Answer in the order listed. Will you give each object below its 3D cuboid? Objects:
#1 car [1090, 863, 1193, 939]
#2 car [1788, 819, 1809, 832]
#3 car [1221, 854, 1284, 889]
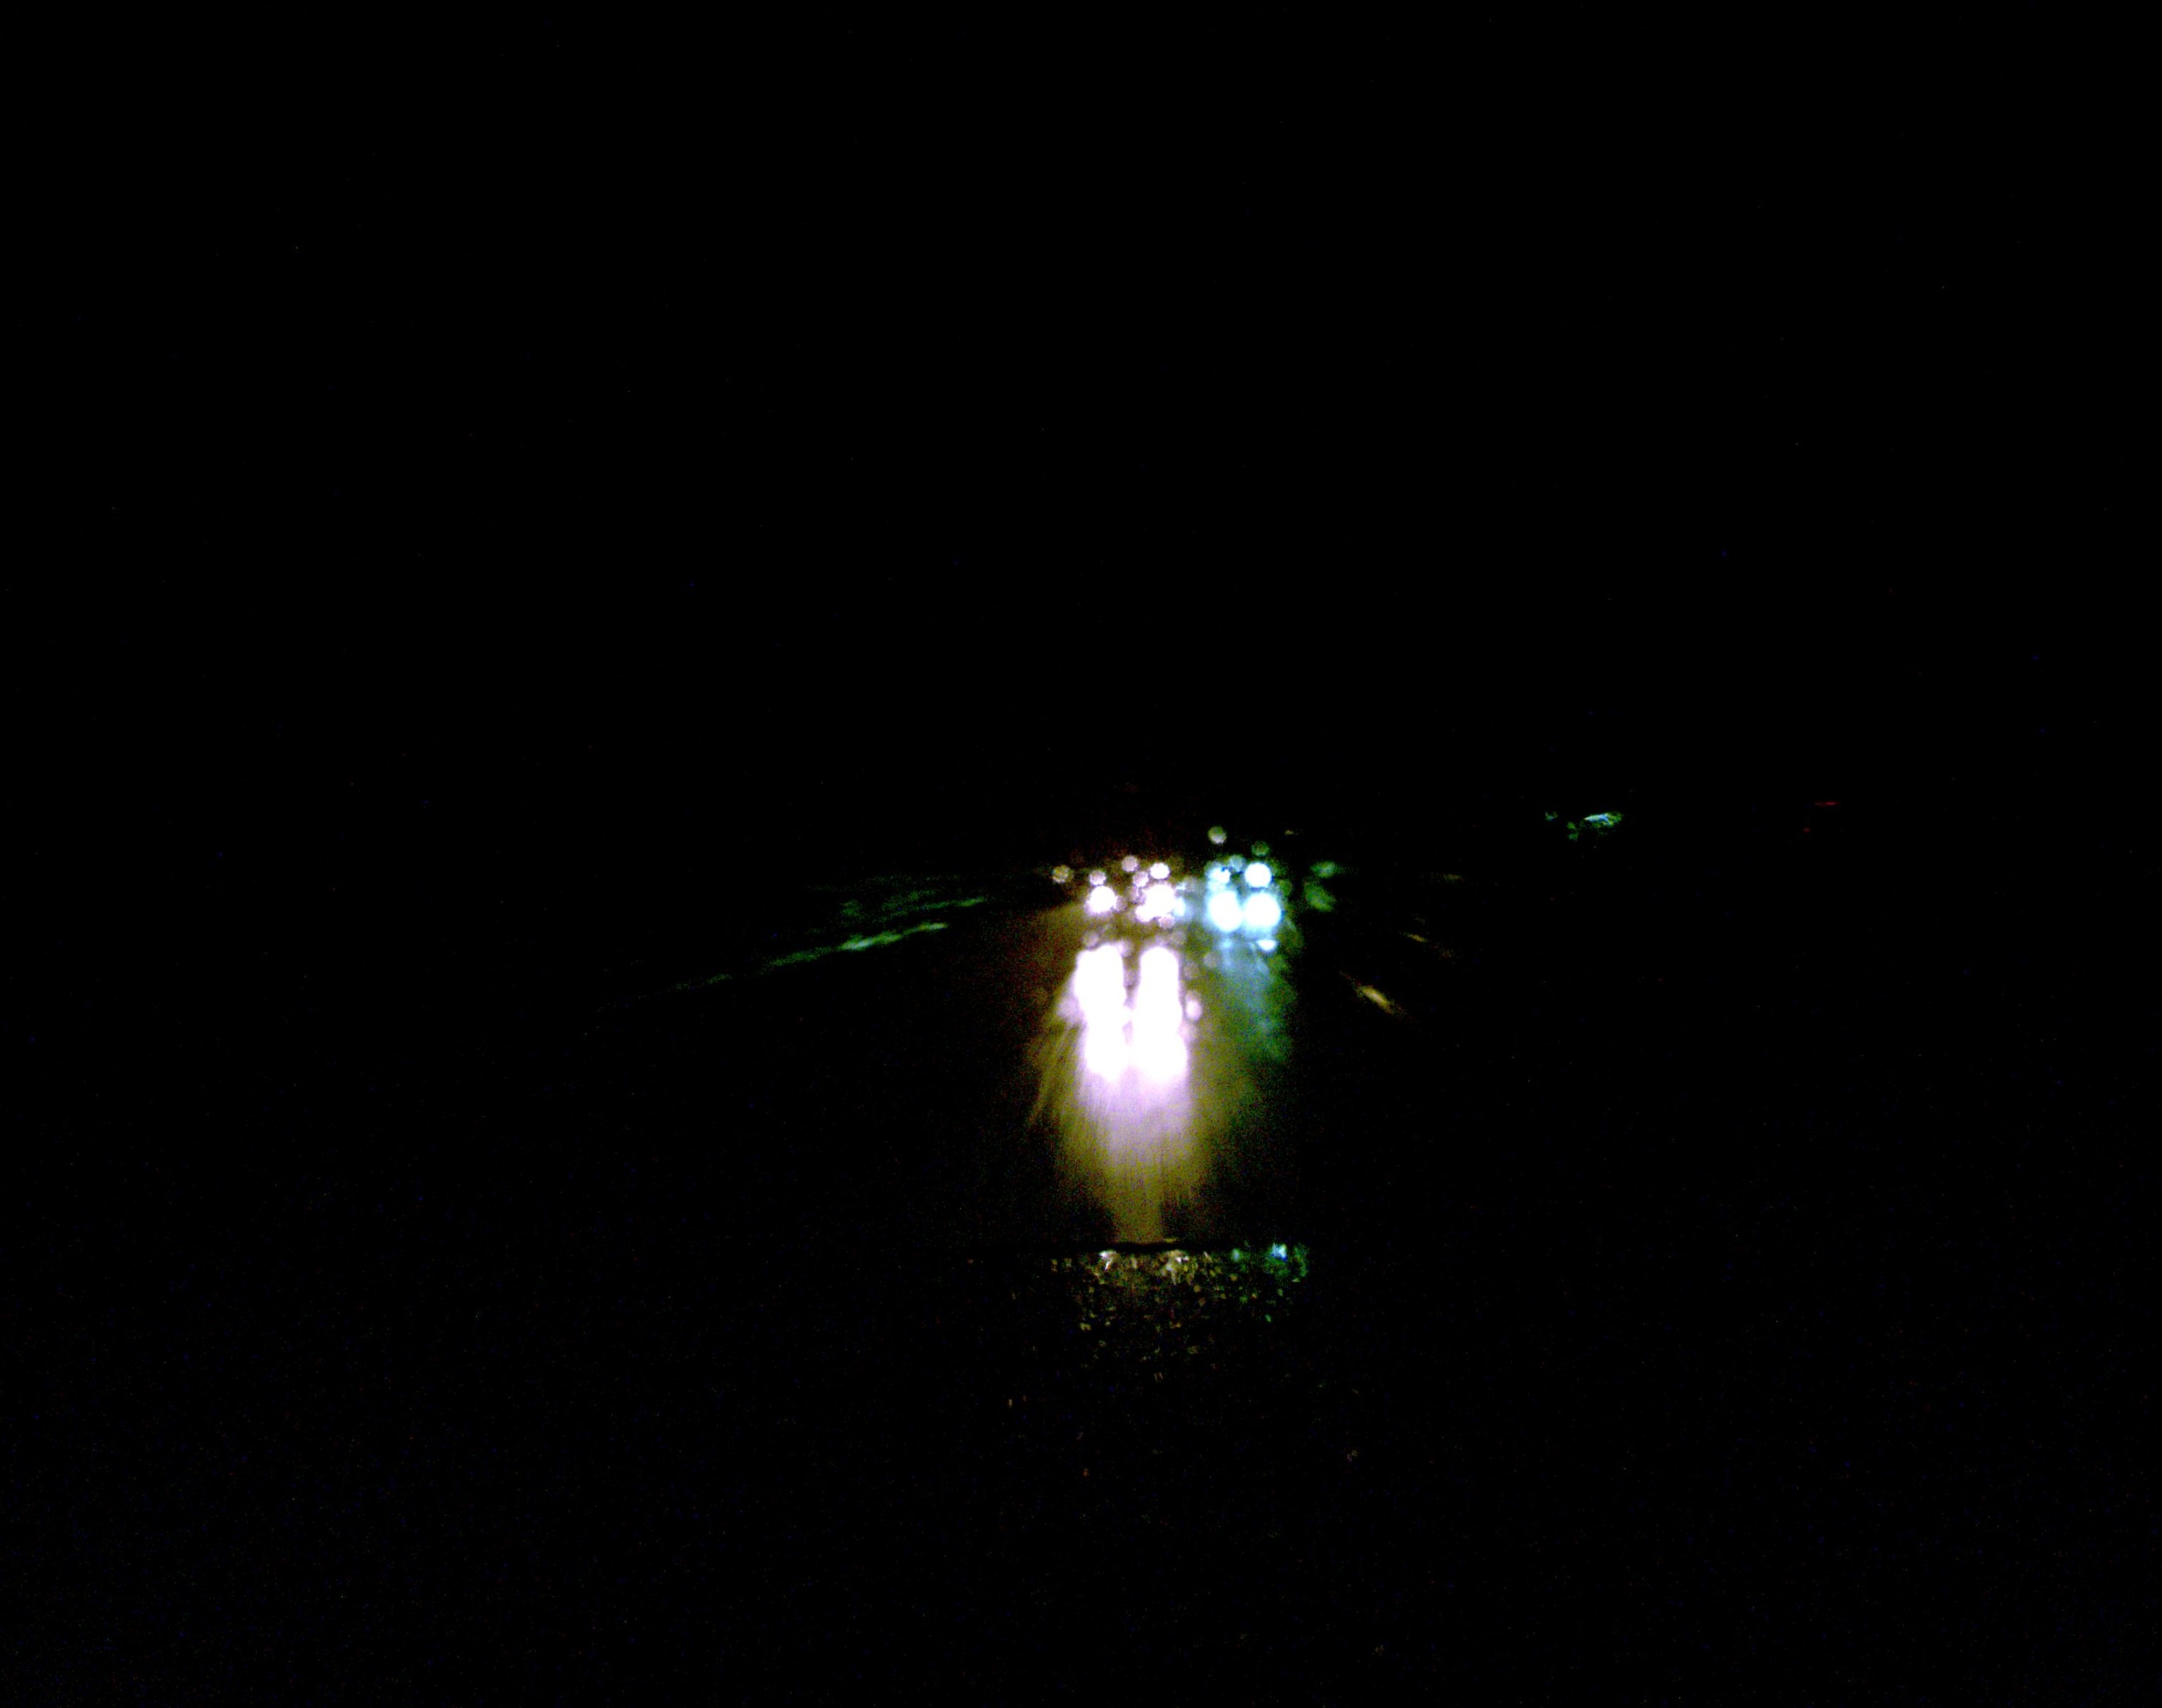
[{"bbox_3d":[1.458,0.956,16.964,1.685,1.442,3.646,0,0,15],"label":"car"},{"bbox_3d":[79.457,-3.162,84.170,1.501,1.420,3.437,1,4,39],"label":"car"},{"bbox_3d":[7.371,0.705,32.350,1.757,1.304,4.092,-1,1,25],"label":"car"}]
